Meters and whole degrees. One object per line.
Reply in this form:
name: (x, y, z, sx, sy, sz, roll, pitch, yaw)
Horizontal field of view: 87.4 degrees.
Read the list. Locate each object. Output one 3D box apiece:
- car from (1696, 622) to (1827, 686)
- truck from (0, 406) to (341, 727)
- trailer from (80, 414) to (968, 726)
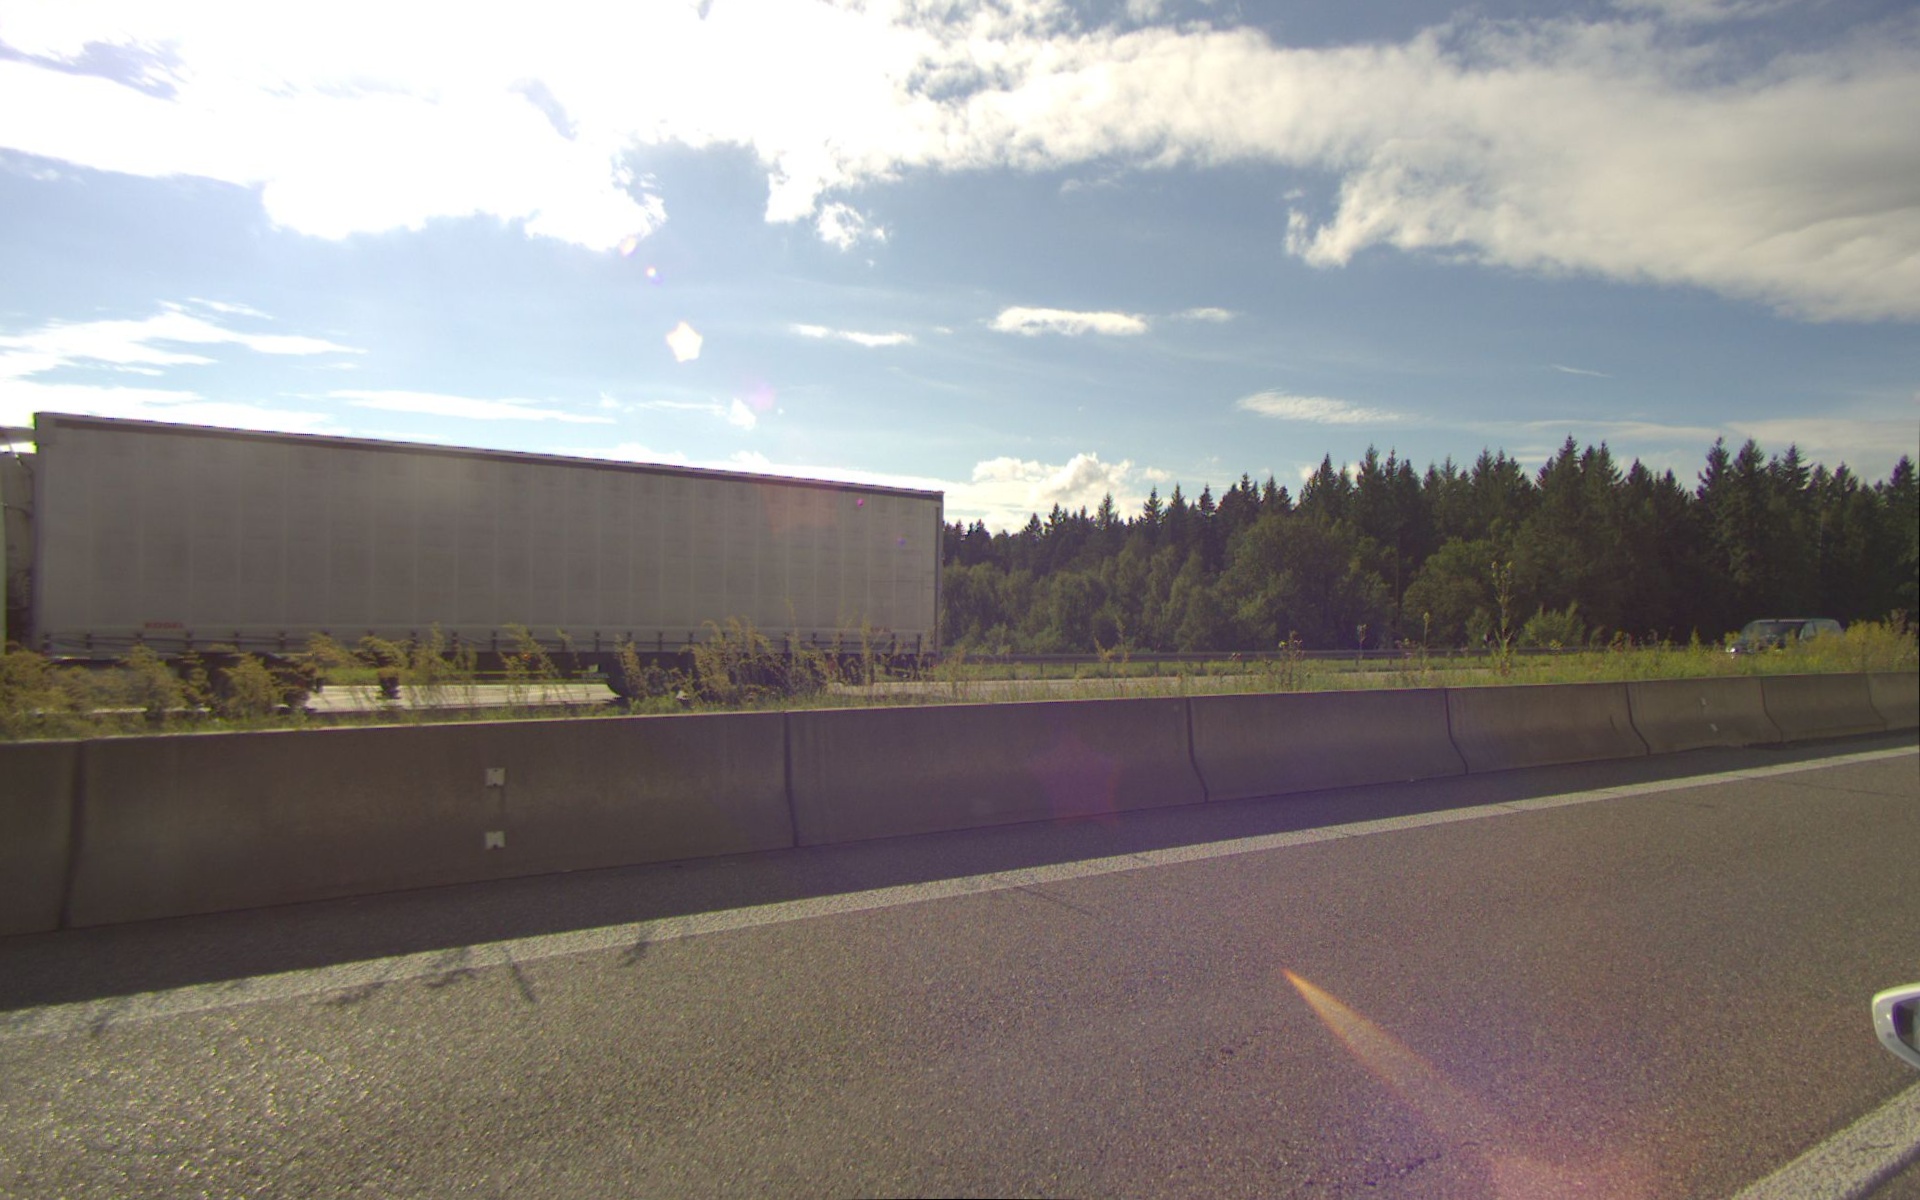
car: (26.628, 1.765, 33.350, 4.437, 1.901, 1.869, 1, 1, -30)
truck: (-12.196, -0.398, 14.155, 5.765, 4.028, 2.806, 1, -1, -31)
trailer: (-6.313, -0.245, 17.672, 13.392, 4.045, 2.818, 1, -1, -31)
